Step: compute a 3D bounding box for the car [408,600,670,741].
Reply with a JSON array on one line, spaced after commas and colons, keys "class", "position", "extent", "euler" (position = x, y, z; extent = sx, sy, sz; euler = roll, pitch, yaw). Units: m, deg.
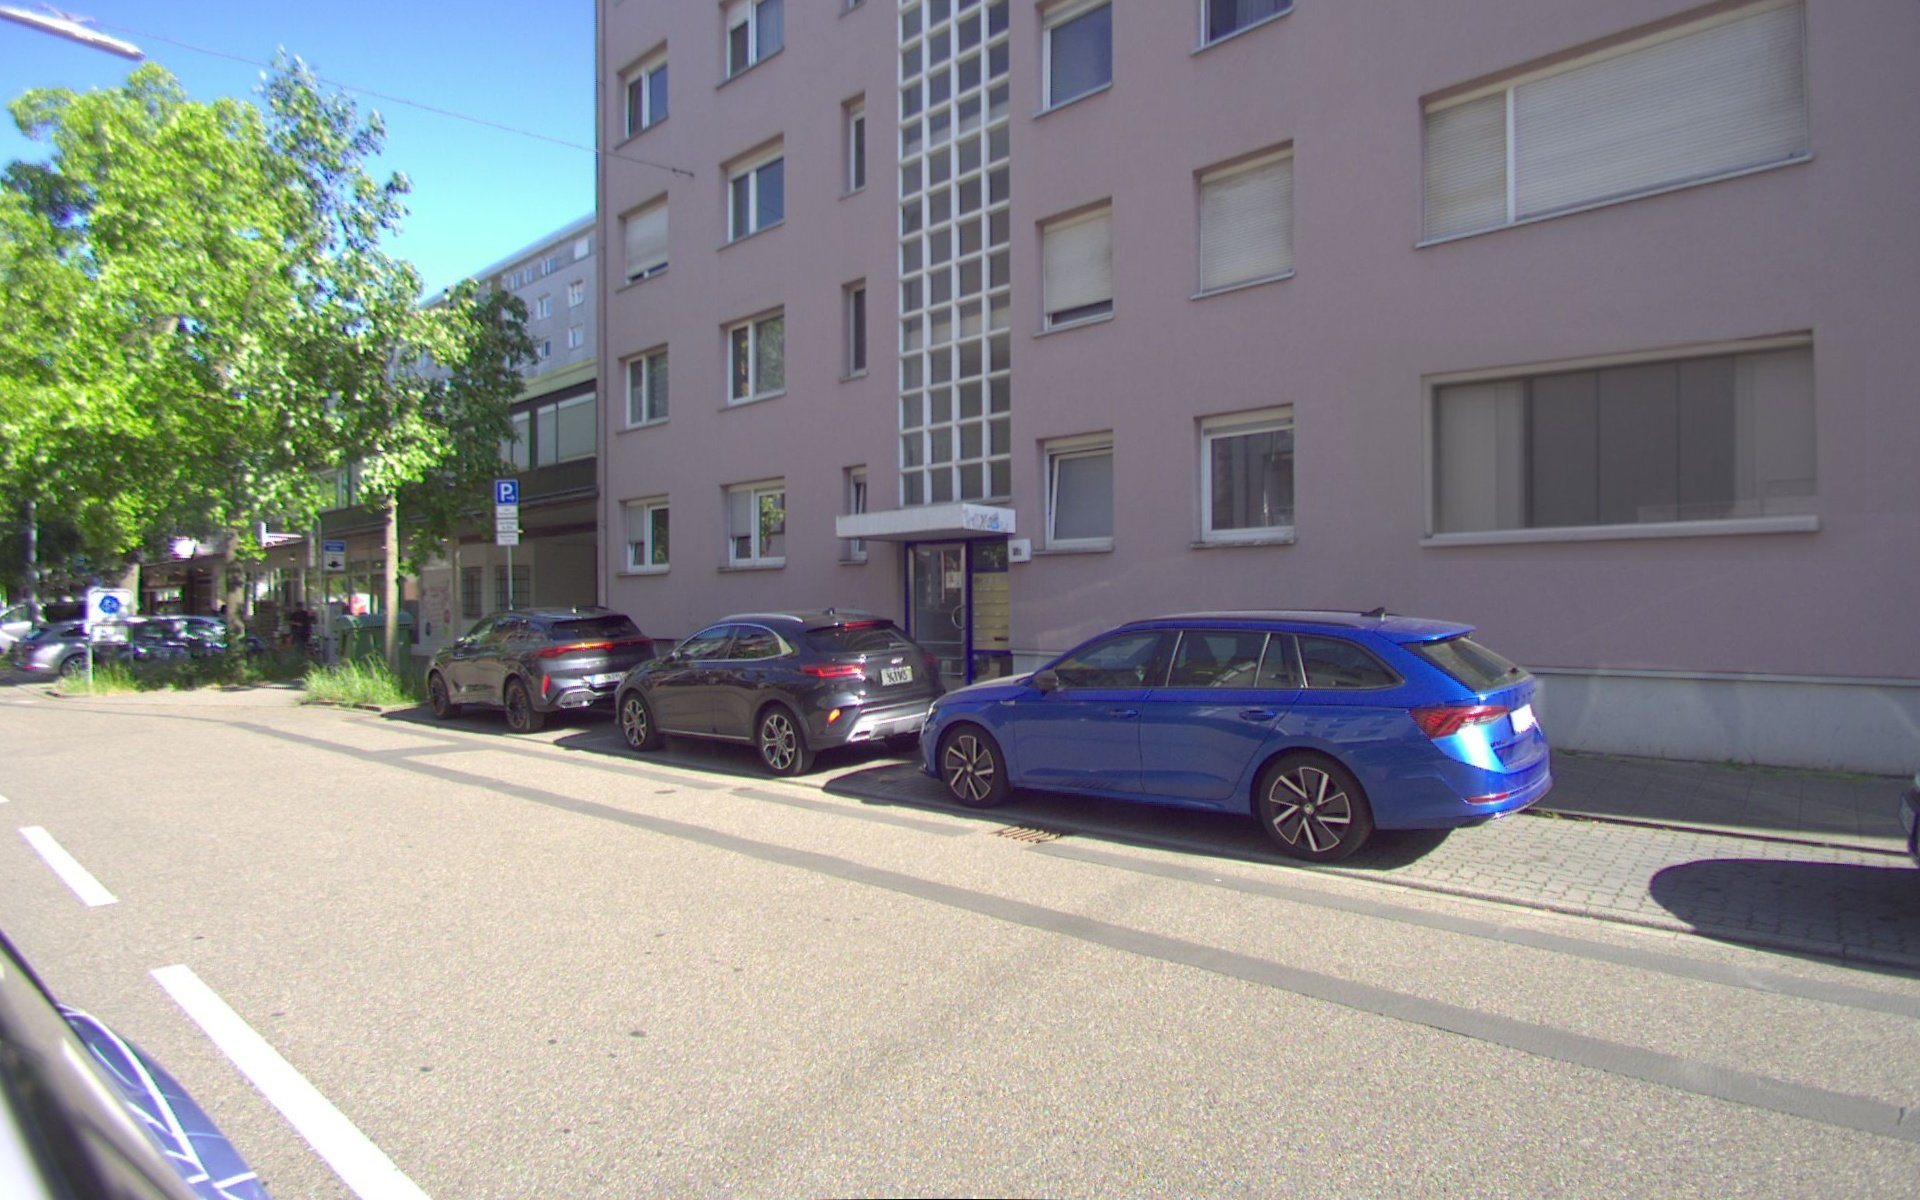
[{"class": "car", "position": [-6.049, 0.887, 14.331], "extent": [4.141, 1.604, 1.798], "euler": [-1, 2, 43]}]

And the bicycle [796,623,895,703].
[{"class": "bicycle", "position": [-1.685, 0.888, 14.712], "extent": [1.649, 1.084, 0.387], "euler": [-1, 3, 42]}]

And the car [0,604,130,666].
[{"class": "car", "position": [-31.282, 1.164, 34.824], "extent": [1.999, 2.047, 3.945], "euler": [-1, -1, 41]}]

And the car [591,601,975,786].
[{"class": "car", "position": [-2.029, 0.834, 10.785], "extent": [4.245, 1.519, 1.798], "euler": [-1, 1, 43]}]

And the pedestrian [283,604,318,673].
[{"class": "pedestrian", "position": [-19.721, 1.128, 30.254], "extent": [0.566, 2.029, 0.743], "euler": [-1, -1, 41]}]

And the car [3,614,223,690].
[{"class": "car", "position": [-20.969, 1.221, 25.167], "extent": [1.999, 1.687, 3.945], "euler": [-1, -1, 41]}]

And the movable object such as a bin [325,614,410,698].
[{"class": "movable object such as a bin", "position": [-11.573, 1.058, 19.772], "extent": [1.230, 1.557, 1.019], "euler": [0, -1, -44]}]

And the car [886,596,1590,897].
[{"class": "car", "position": [1.706, 0.785, 7.315], "extent": [4.610, 1.476, 1.699], "euler": [-1, 1, 41]}]

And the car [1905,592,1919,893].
[{"class": "car", "position": [6.341, 0.680, 3.185], "extent": [4.812, 1.476, 1.699], "euler": [-1, 1, 41]}]

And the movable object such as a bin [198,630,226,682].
[{"class": "movable object such as a bin", "position": [-18.485, 1.376, 25.022], "extent": [0.409, 1.234, 0.482], "euler": [-1, -1, 41]}]
